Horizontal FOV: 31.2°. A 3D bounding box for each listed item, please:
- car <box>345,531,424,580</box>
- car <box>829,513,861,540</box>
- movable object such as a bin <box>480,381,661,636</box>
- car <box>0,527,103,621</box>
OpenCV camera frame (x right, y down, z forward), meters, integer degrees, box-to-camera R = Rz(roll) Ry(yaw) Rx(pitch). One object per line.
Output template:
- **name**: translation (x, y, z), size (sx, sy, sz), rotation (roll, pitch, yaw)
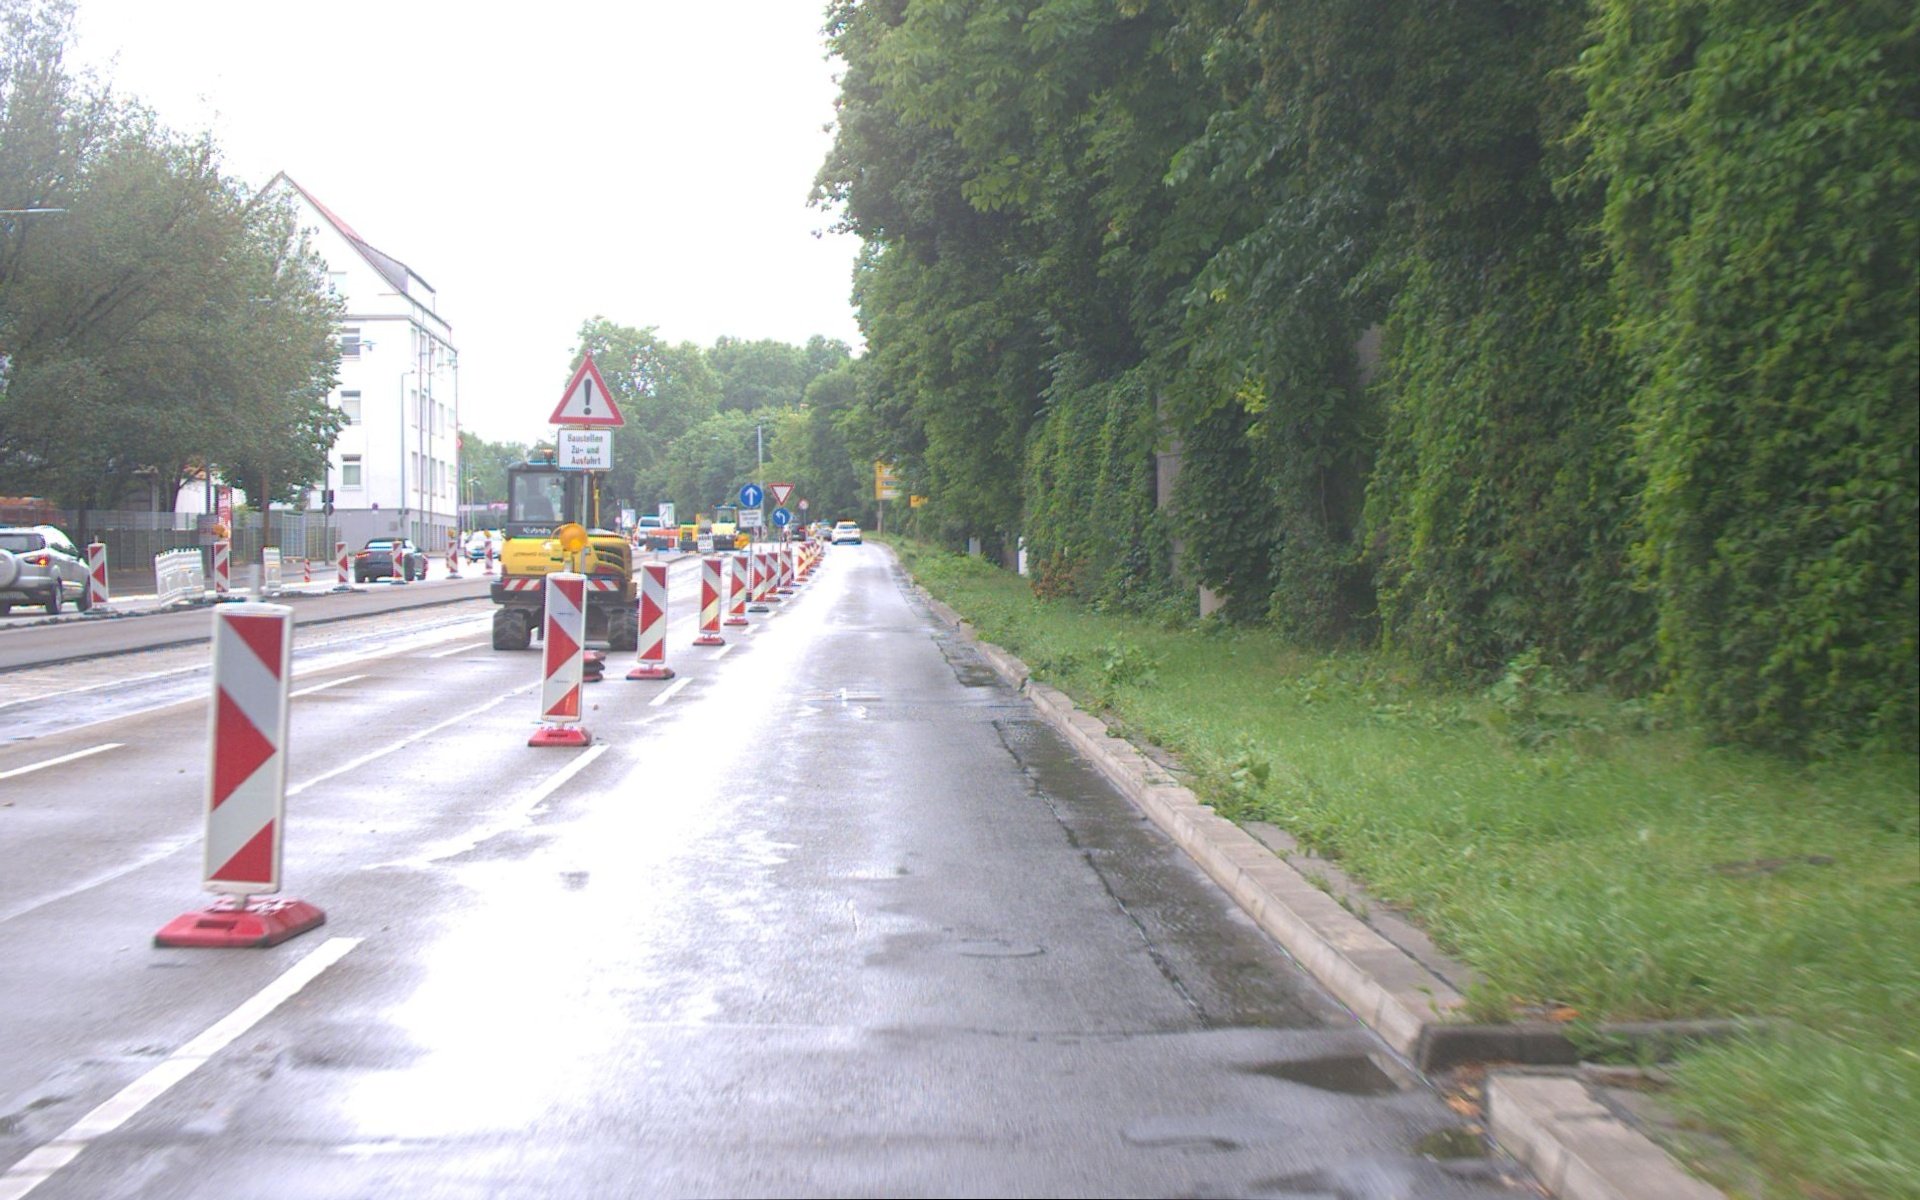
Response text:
- **car**: translation (-18.511, -1.454, 110.729), size (1.993, 1.514, 4.001), rotation (1, 1, -2)
- **car**: translation (-7.437, -4.761, 222.017), size (1.993, 1.667, 4.000), rotation (1, 1, -1)
- **movable object such as a bin**: translation (-5.431, -1.275, 48.644), size (1.993, 3.356, 5.983), rotation (1, 1, -1)
- **car**: translation (-17.136, -0.505, 63.211), size (1.854, 1.642, 4.001), rotation (1, 1, -2)
